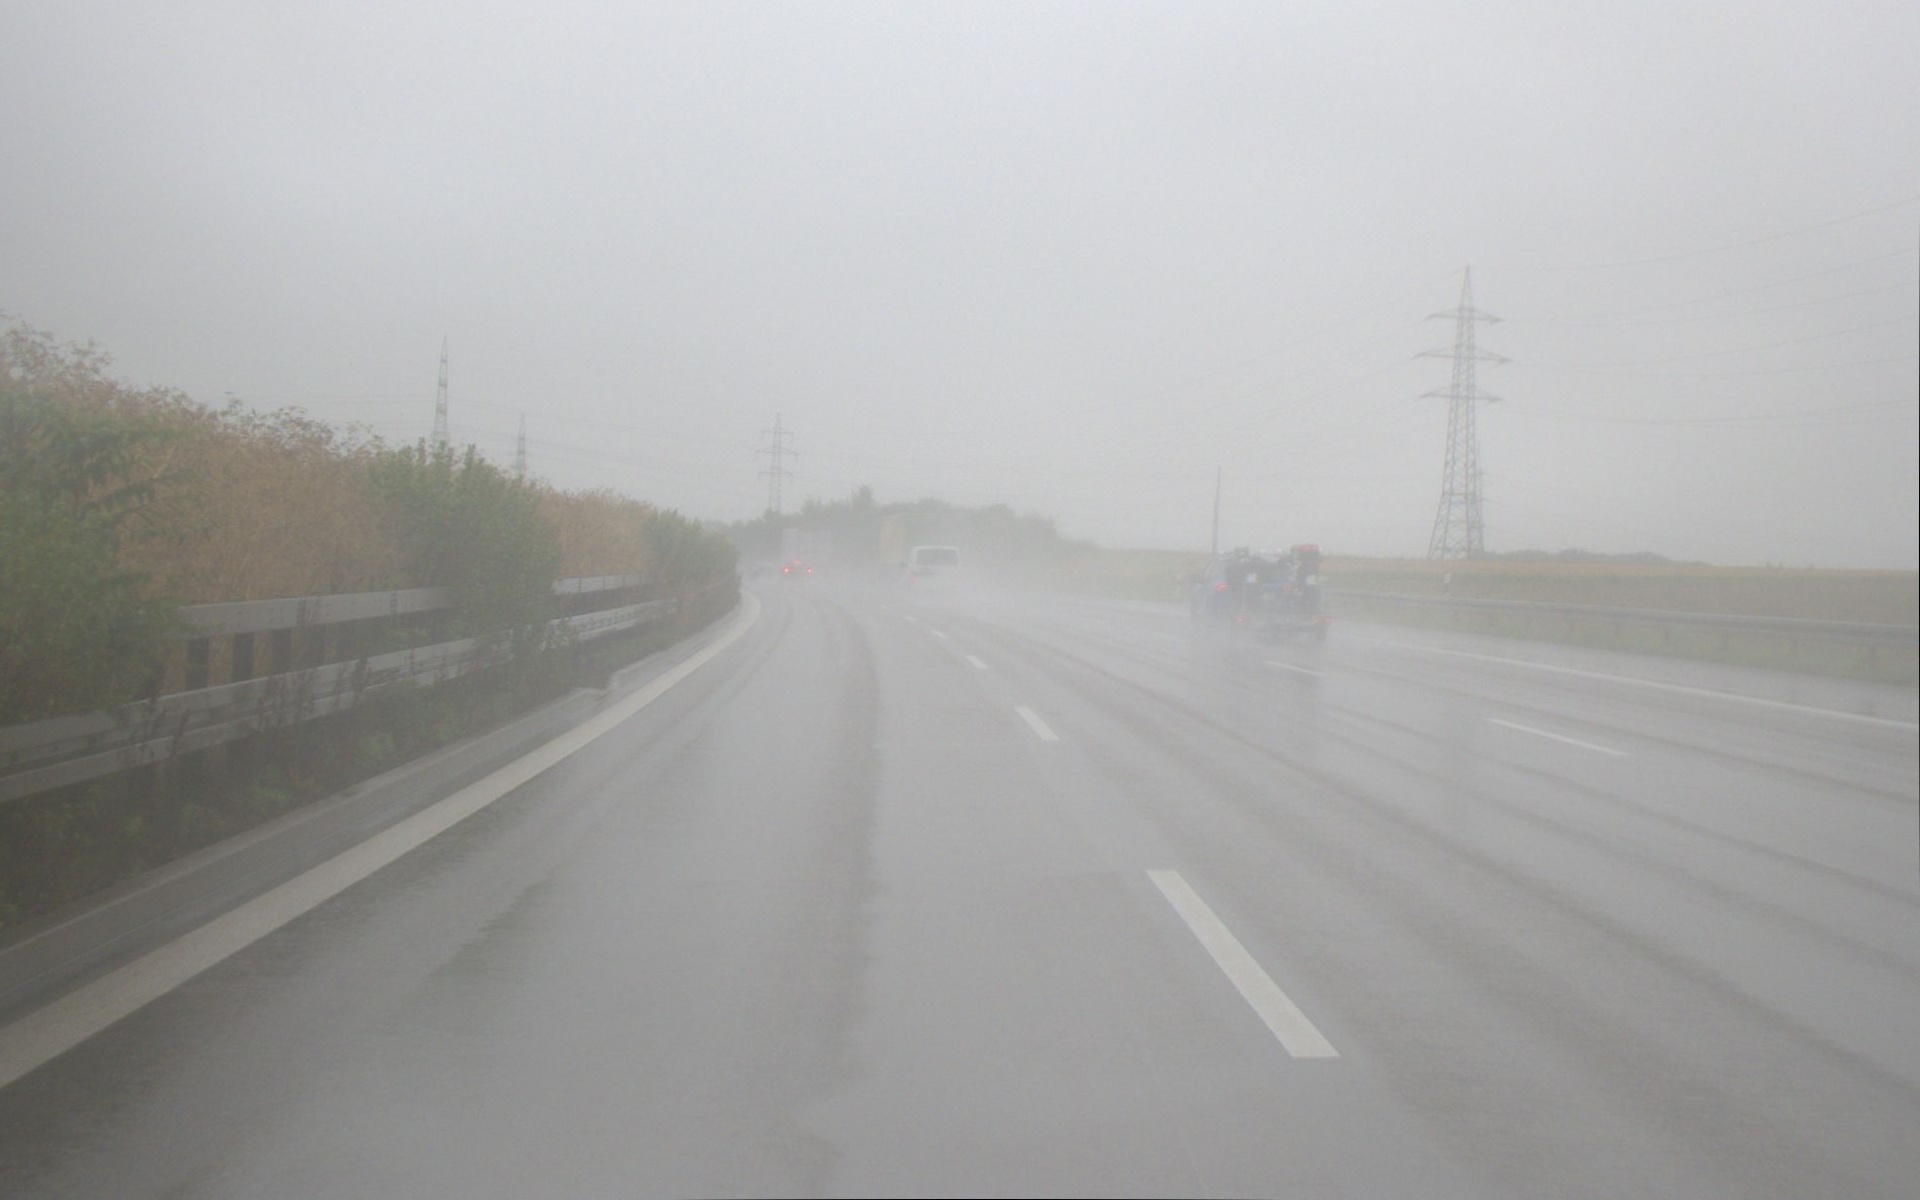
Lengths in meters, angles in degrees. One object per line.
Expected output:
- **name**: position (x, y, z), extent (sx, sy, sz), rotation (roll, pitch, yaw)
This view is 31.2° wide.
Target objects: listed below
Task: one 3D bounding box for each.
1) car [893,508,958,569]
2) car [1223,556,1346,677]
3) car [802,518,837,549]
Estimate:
- **car**: position (-1.901, -3.301, 185.015), extent (3.199, 3.182, 7.257), rotation (1, 1, -2)
- **car**: position (5.986, 0.271, 63.774), extent (1.807, 2.151, 4.000), rotation (1, 1, -1)
- **car**: position (-10.516, -4.979, 257.376), extent (2.556, 2.241, 5.353), rotation (1, 1, -3)
